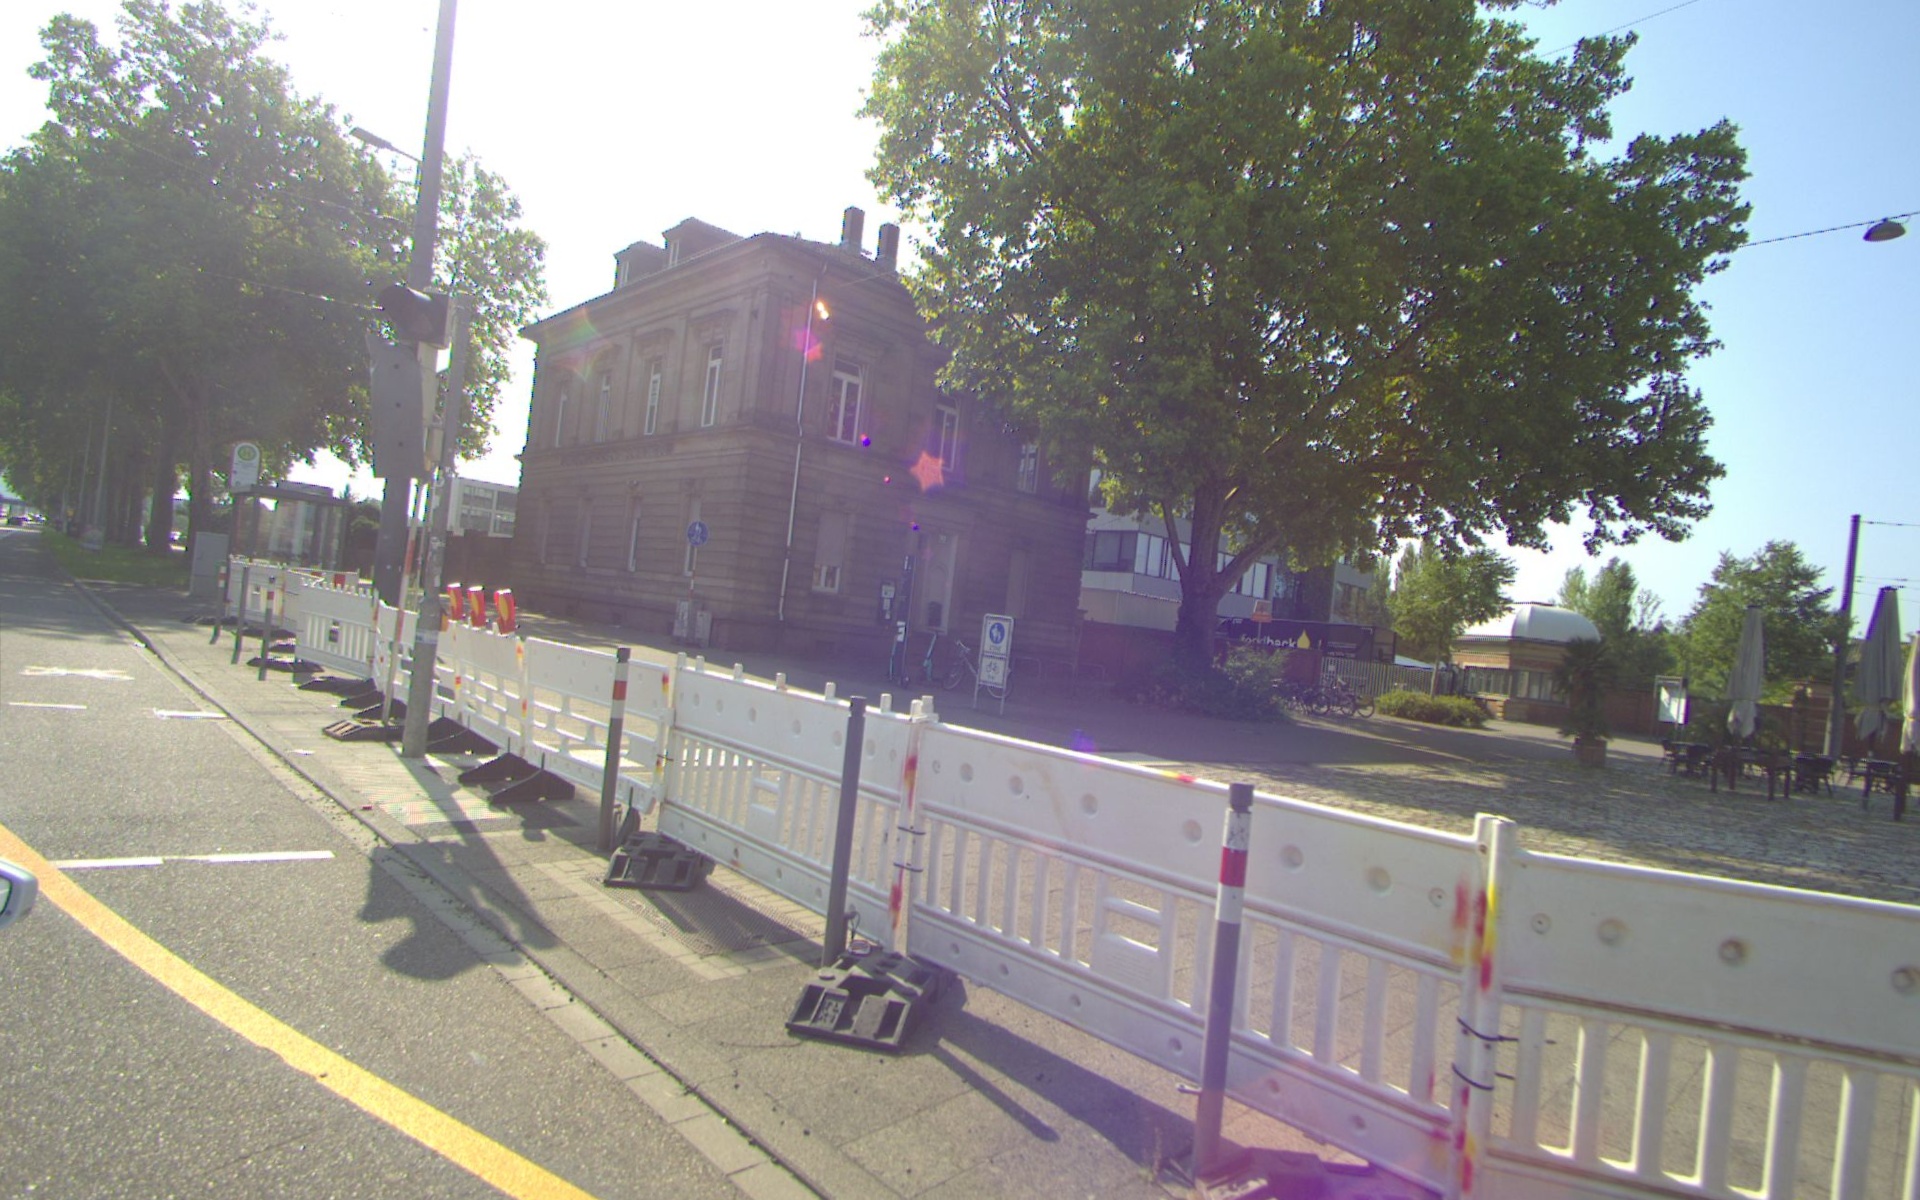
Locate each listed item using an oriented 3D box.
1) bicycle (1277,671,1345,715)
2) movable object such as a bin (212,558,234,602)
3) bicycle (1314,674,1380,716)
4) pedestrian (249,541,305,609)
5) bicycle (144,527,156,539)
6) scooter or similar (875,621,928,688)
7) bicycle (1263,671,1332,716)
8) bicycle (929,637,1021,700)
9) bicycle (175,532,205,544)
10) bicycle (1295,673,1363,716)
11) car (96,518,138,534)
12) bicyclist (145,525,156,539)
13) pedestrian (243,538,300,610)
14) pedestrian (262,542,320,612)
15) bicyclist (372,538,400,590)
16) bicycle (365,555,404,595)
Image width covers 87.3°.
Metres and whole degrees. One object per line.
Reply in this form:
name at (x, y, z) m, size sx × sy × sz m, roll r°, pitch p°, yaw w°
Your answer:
bicycle at (10.703, 2.837, 30.714) m, size 1.833 × 1.102 × 0.490 m, roll 6°, pitch 0°, yaw 44°
movable object such as a bin at (-16.376, -0.450, 22.350) m, size 0.381 × 0.927 × 0.270 m, roll 7°, pitch 1°, yaw 45°
bicycle at (12.453, 3.063, 32.430) m, size 1.833 × 1.102 × 0.530 m, roll 6°, pitch 0°, yaw 44°
pedestrian at (-13.841, -0.503, 20.380) m, size 0.739 × 1.276 × 0.604 m, roll 8°, pitch -2°, yaw -44°
bicycle at (-77.187, -6.363, 95.880) m, size 0.679 × 1.018 × 2.190 m, roll 5°, pitch 0°, yaw -44°
scooter or similar at (-1.214, 1.117, 20.799) m, size 0.423 × 1.243 × 1.162 m, roll 6°, pitch 0°, yaw -36°
bicycle at (10.050, 2.776, 29.989) m, size 1.833 × 1.102 × 0.490 m, roll 6°, pitch 0°, yaw 44°
bicycle at (0.301, 1.425, 21.121) m, size 1.786 × 1.012 × 0.492 m, roll 9°, pitch 1°, yaw 28°
bicycle at (-73.573, -5.902, 96.129) m, size 2.172 × 0.857 × 0.497 m, roll 6°, pitch 0°, yaw -43°
bicycle at (11.489, 2.942, 31.373) m, size 1.833 × 1.102 × 0.490 m, roll 6°, pitch 0°, yaw 44°
car at (-110.612, -9.668, 131.999) m, size 3.977 × 1.391 × 1.976 m, roll 9°, pitch -3°, yaw -44°
bicyclist at (-77.199, -6.494, 95.972) m, size 0.667 × 1.292 × 0.719 m, roll 5°, pitch 1°, yaw -44°
pedestrian at (-14.283, -0.532, 20.870) m, size 0.748 × 1.381 × 0.604 m, roll 8°, pitch -2°, yaw -44°
pedestrian at (-13.225, -0.454, 19.890) m, size 0.739 × 1.276 × 0.604 m, roll 8°, pitch -2°, yaw -44°
bicyclist at (-17.958, -1.132, 31.472) m, size 0.588 × 1.558 × 0.468 m, roll 7°, pitch 1°, yaw 44°
bicycle at (-18.011, -0.778, 31.489) m, size 1.833 × 1.102 × 0.490 m, roll 6°, pitch 0°, yaw 44°
